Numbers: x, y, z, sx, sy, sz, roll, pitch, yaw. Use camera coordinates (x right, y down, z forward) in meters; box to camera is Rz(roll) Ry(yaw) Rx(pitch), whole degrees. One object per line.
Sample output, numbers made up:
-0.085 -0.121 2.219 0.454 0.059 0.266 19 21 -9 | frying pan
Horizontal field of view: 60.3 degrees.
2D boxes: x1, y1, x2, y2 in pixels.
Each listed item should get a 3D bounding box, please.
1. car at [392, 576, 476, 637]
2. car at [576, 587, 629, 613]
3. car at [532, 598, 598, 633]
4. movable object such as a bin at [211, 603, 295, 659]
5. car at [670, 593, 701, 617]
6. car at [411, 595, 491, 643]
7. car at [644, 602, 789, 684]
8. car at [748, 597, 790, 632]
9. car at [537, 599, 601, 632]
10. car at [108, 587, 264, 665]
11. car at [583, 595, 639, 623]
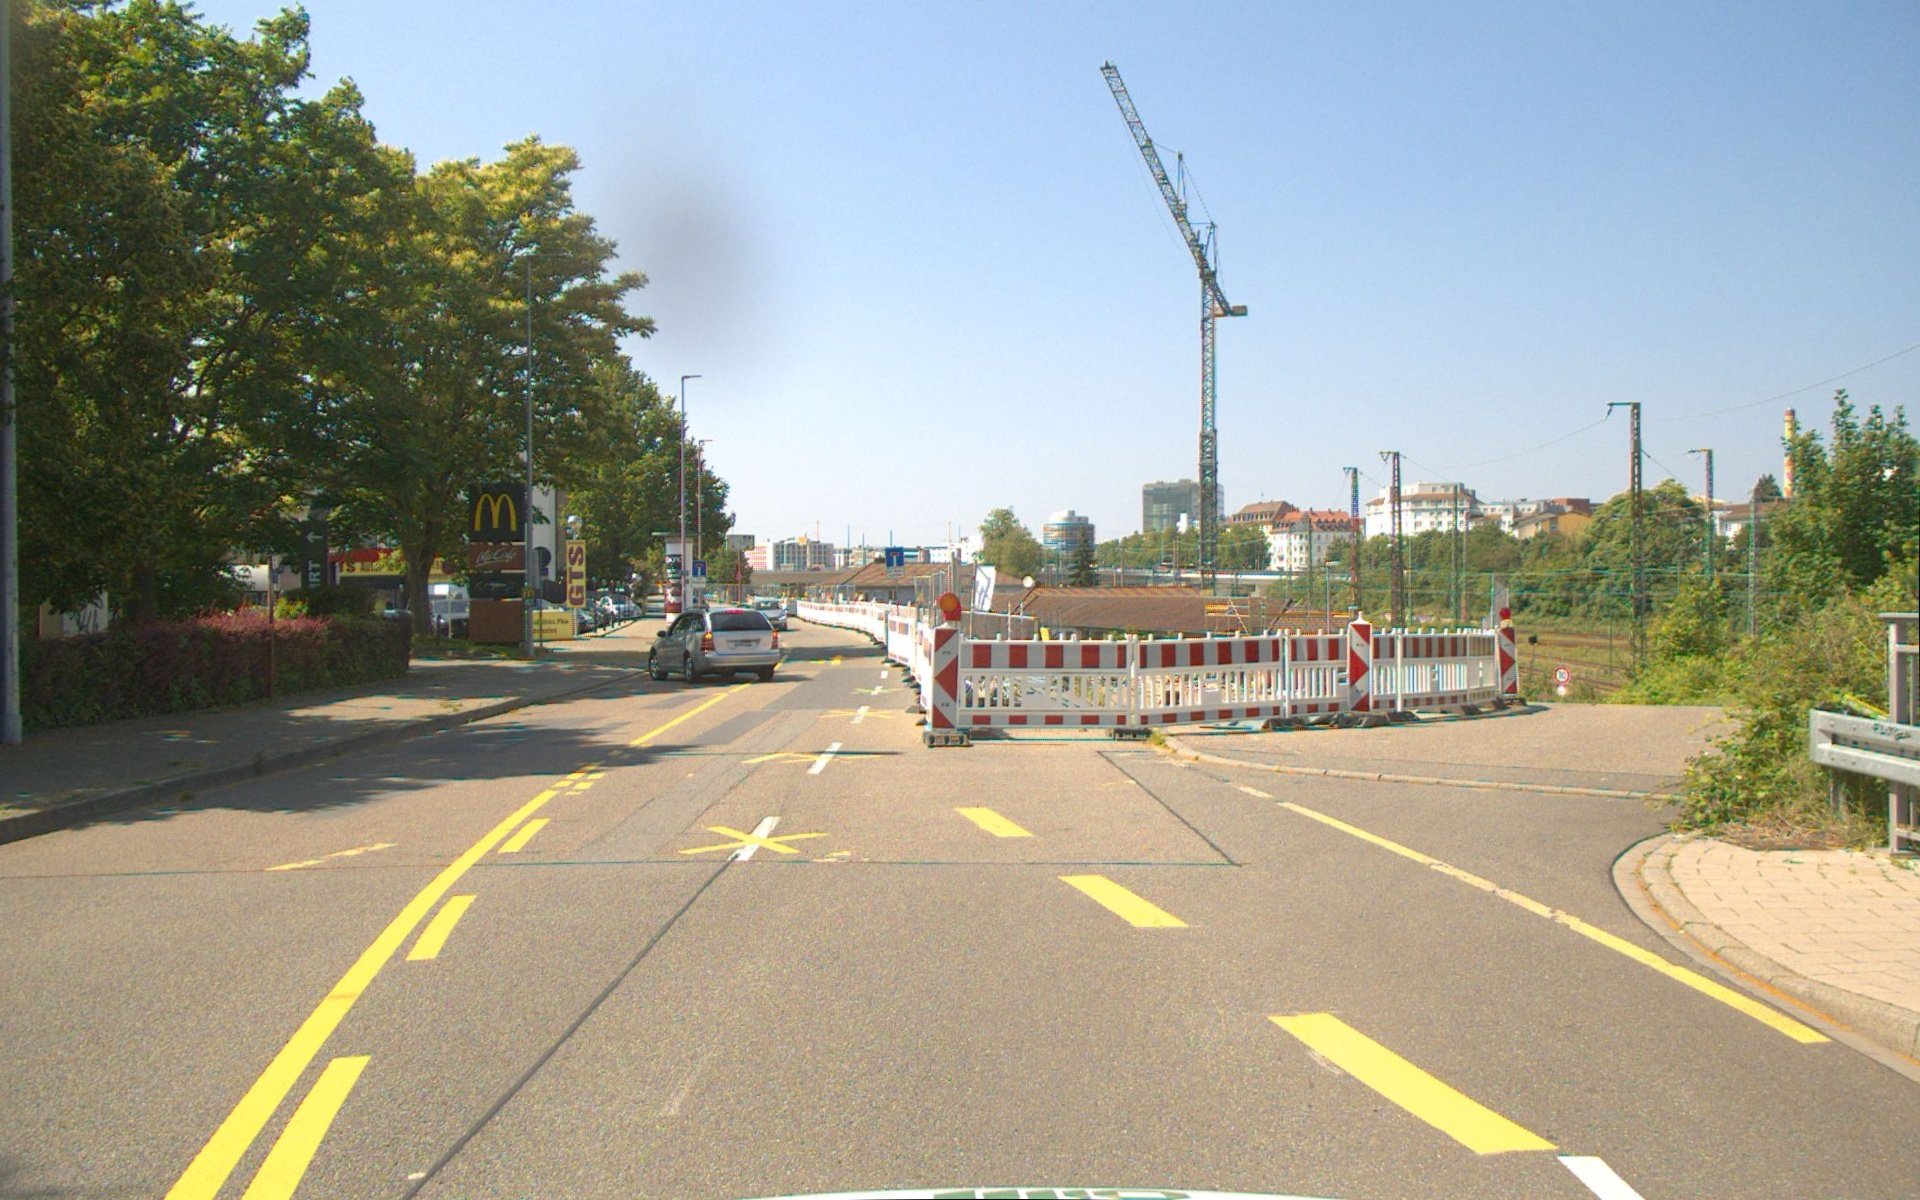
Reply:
-25.491 0.326 80.420 2.231 2.806 6.150 -2 0 -2 | car
-27.376 0.013 126.751 3.860 1.993 1.751 0 0 -17 | car
-18.649 0.745 77.929 1.819 1.498 3.957 -4 1 -31 | car
-21.683 0.937 50.739 1.732 1.552 1.457 -3 2 17 | movable object such as a bin
-19.269 0.319 116.219 1.833 1.524 4.027 -2 1 -6 | car
-20.179 0.762 65.442 2.022 1.737 4.269 -2 -1 -31 | car
-4.886 0.795 32.662 1.687 1.428 4.353 -3 1 -24 | car
-8.879 0.644 76.607 1.647 1.519 4.595 -1 0 -10 | car
-19.723 0.794 83.350 1.765 1.498 3.952 -4 1 -34 | car
-22.866 0.778 48.829 4.426 1.953 1.890 -4 1 30 | car
-21.129 0.552 100.093 1.763 1.498 3.948 -4 1 -36 | car
